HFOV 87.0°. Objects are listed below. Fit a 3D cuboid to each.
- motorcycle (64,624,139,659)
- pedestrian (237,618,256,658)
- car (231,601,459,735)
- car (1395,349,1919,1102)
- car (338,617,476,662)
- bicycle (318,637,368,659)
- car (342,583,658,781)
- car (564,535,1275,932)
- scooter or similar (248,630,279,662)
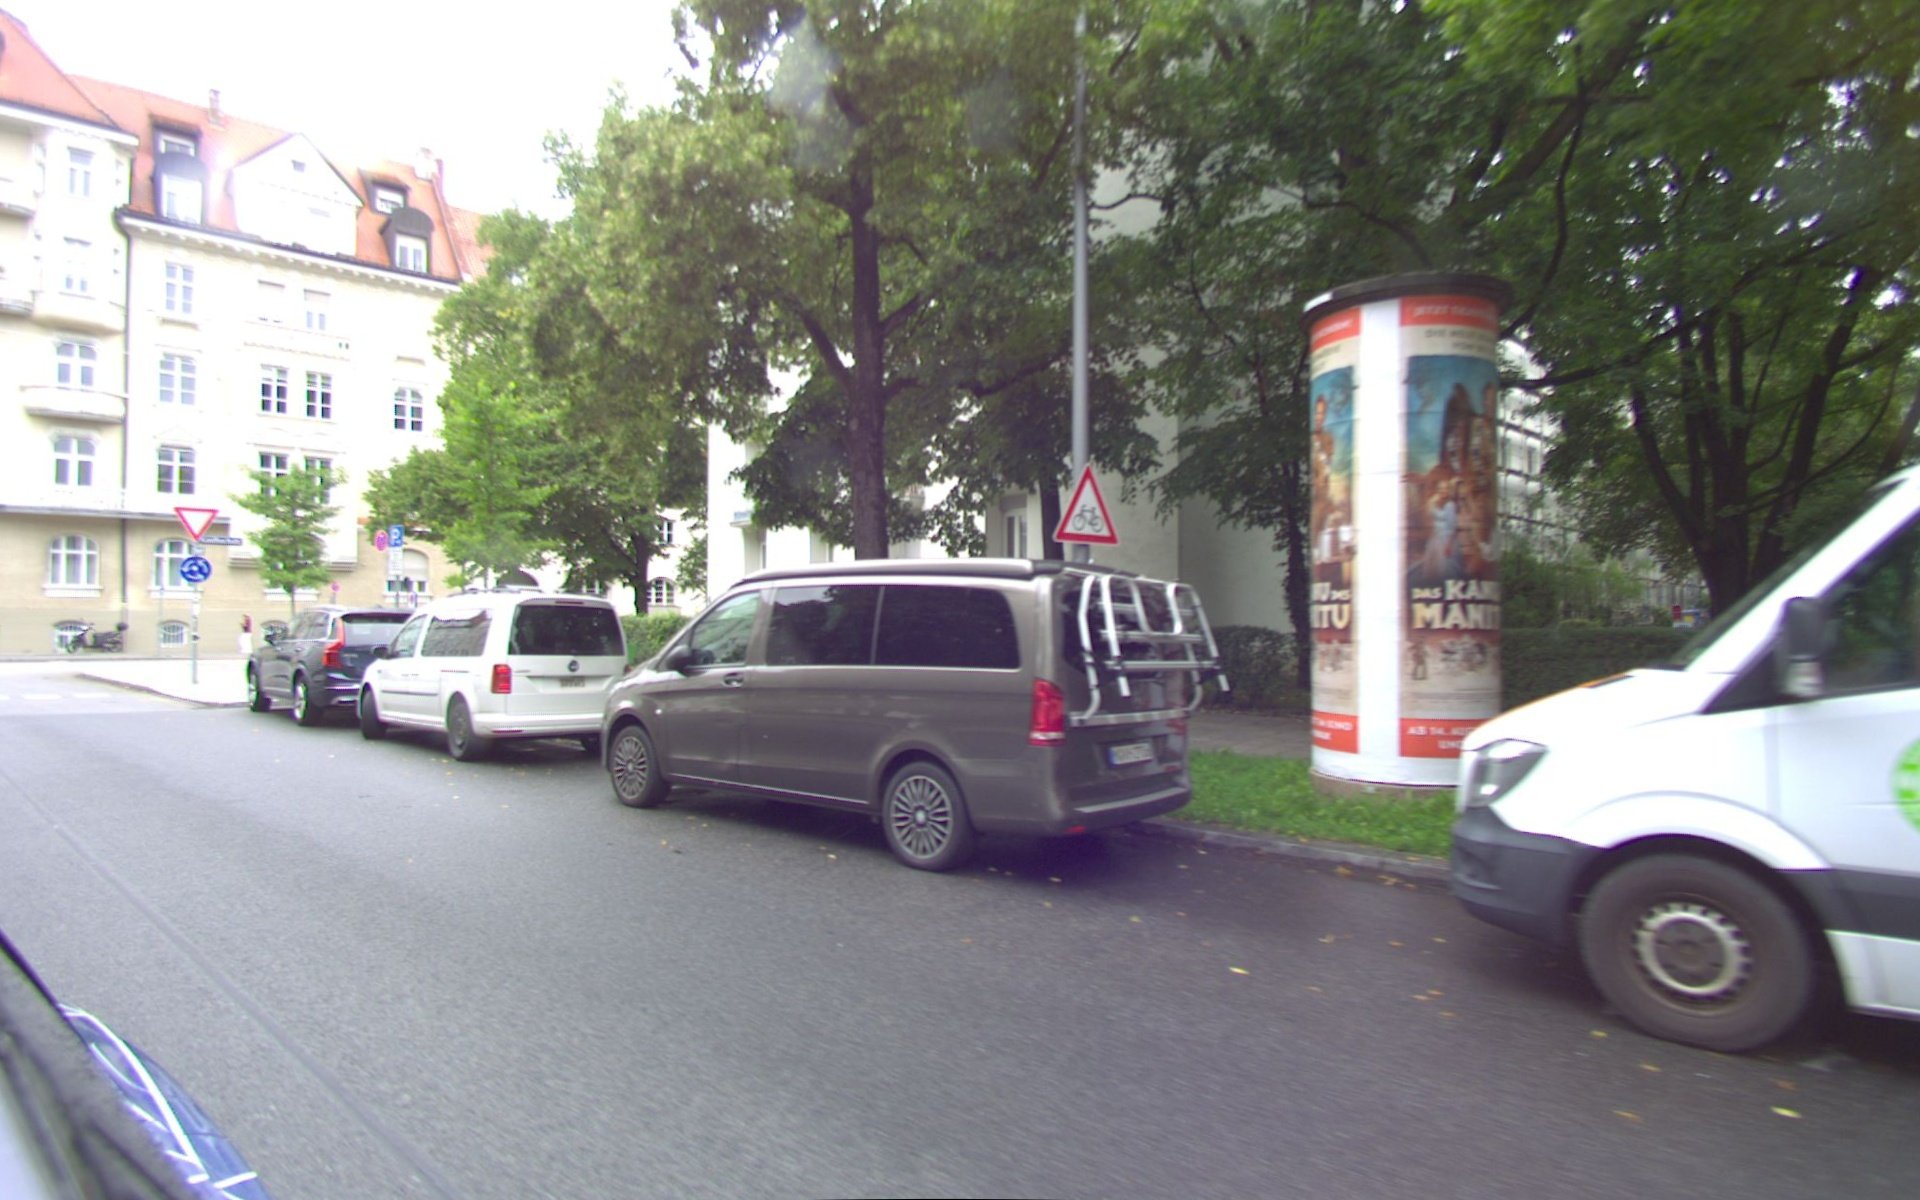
[{"bbox_3d":[-34.307,1.654,40.442,2.212,1.336,0.824,2,-2,-44],"label":"motorcycle"},{"bbox_3d":[-30.547,1.632,43.315,0.597,1.677,0.464,2,-1,-37],"label":"pedestrian"},{"bbox_3d":[-9.846,0.930,16.001,5.061,1.781,1.858,0,-1,45],"label":"car"},{"bbox_3d":[4.546,0.391,3.266,5.404,2.366,2.093,-1,-2,40],"label":"car"},{"bbox_3d":[-24.376,1.754,44.748,4.953,1.880,2.169,3,-2,-42],"label":"car"},{"bbox_3d":[-27.032,2.096,44.348,1.782,0.964,0.468,2,-1,-39],"label":"bicycle"},{"bbox_3d":[-5.786,0.899,12.391,4.834,1.952,1.858,-2,-4,45],"label":"car"},{"bbox_3d":[-0.646,0.751,7.581,5.455,1.979,1.925,-1,-3,40],"label":"car"},{"bbox_3d":[-28.265,1.847,41.080,0.403,1.239,1.279,1,-1,-2],"label":"scooter or similar"}]
